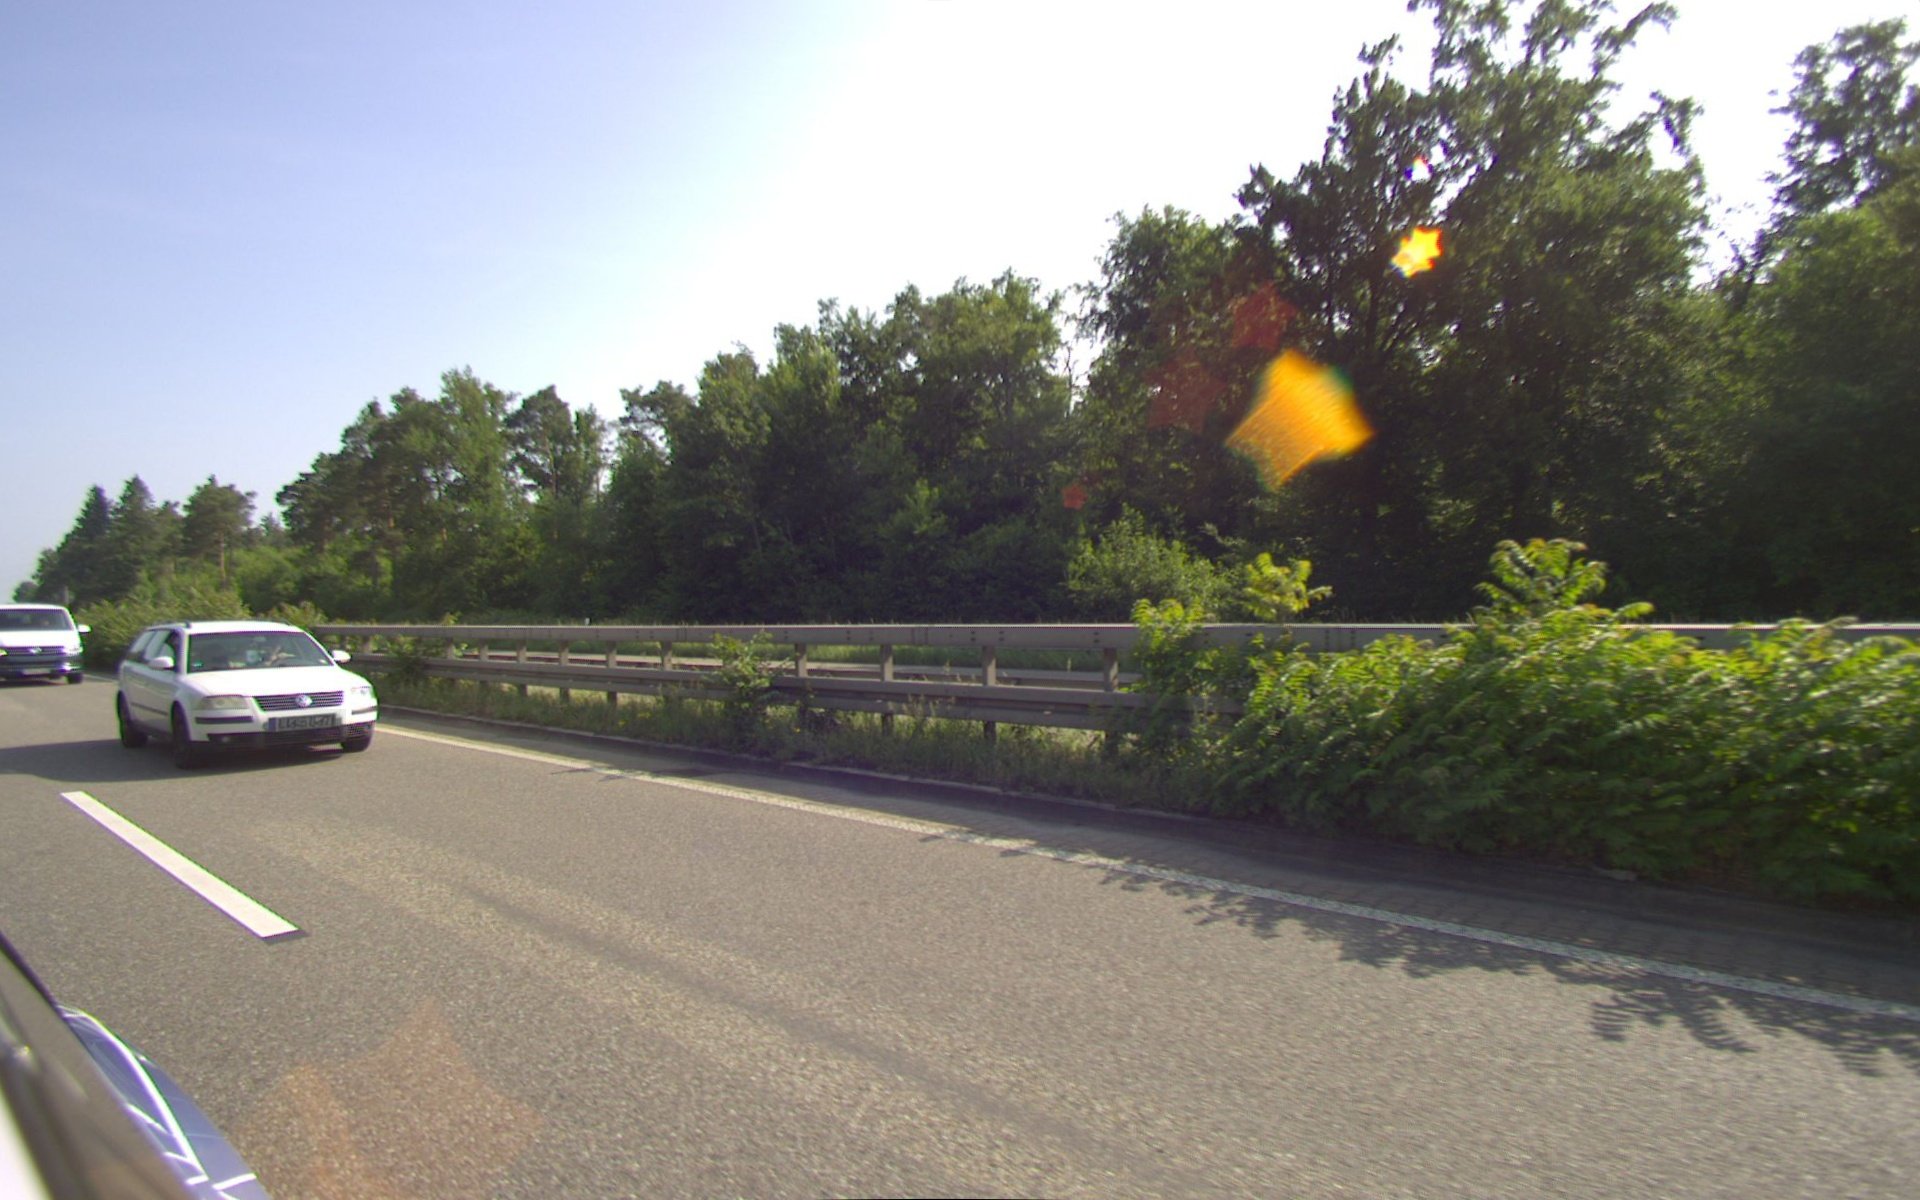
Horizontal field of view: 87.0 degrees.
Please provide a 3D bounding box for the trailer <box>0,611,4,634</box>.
[{"bbox_3d":[-176.103,4.121,183.537,8.370,4.070,3.260,-1,0,42],"label":"trailer"}]

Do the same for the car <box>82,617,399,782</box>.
[{"bbox_3d":[-8.472,0.971,11.686,5.259,1.497,1.732,-1,-1,40],"label":"car"}]

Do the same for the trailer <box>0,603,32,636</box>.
[{"bbox_3d":[-128.622,2.679,137.155,12.406,4.241,2.803,-1,-2,42],"label":"trailer"}]

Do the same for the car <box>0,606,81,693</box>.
[{"bbox_3d":[-23.096,1.153,24.708,4.704,1.960,1.887,-1,-1,41],"label":"car"}]
